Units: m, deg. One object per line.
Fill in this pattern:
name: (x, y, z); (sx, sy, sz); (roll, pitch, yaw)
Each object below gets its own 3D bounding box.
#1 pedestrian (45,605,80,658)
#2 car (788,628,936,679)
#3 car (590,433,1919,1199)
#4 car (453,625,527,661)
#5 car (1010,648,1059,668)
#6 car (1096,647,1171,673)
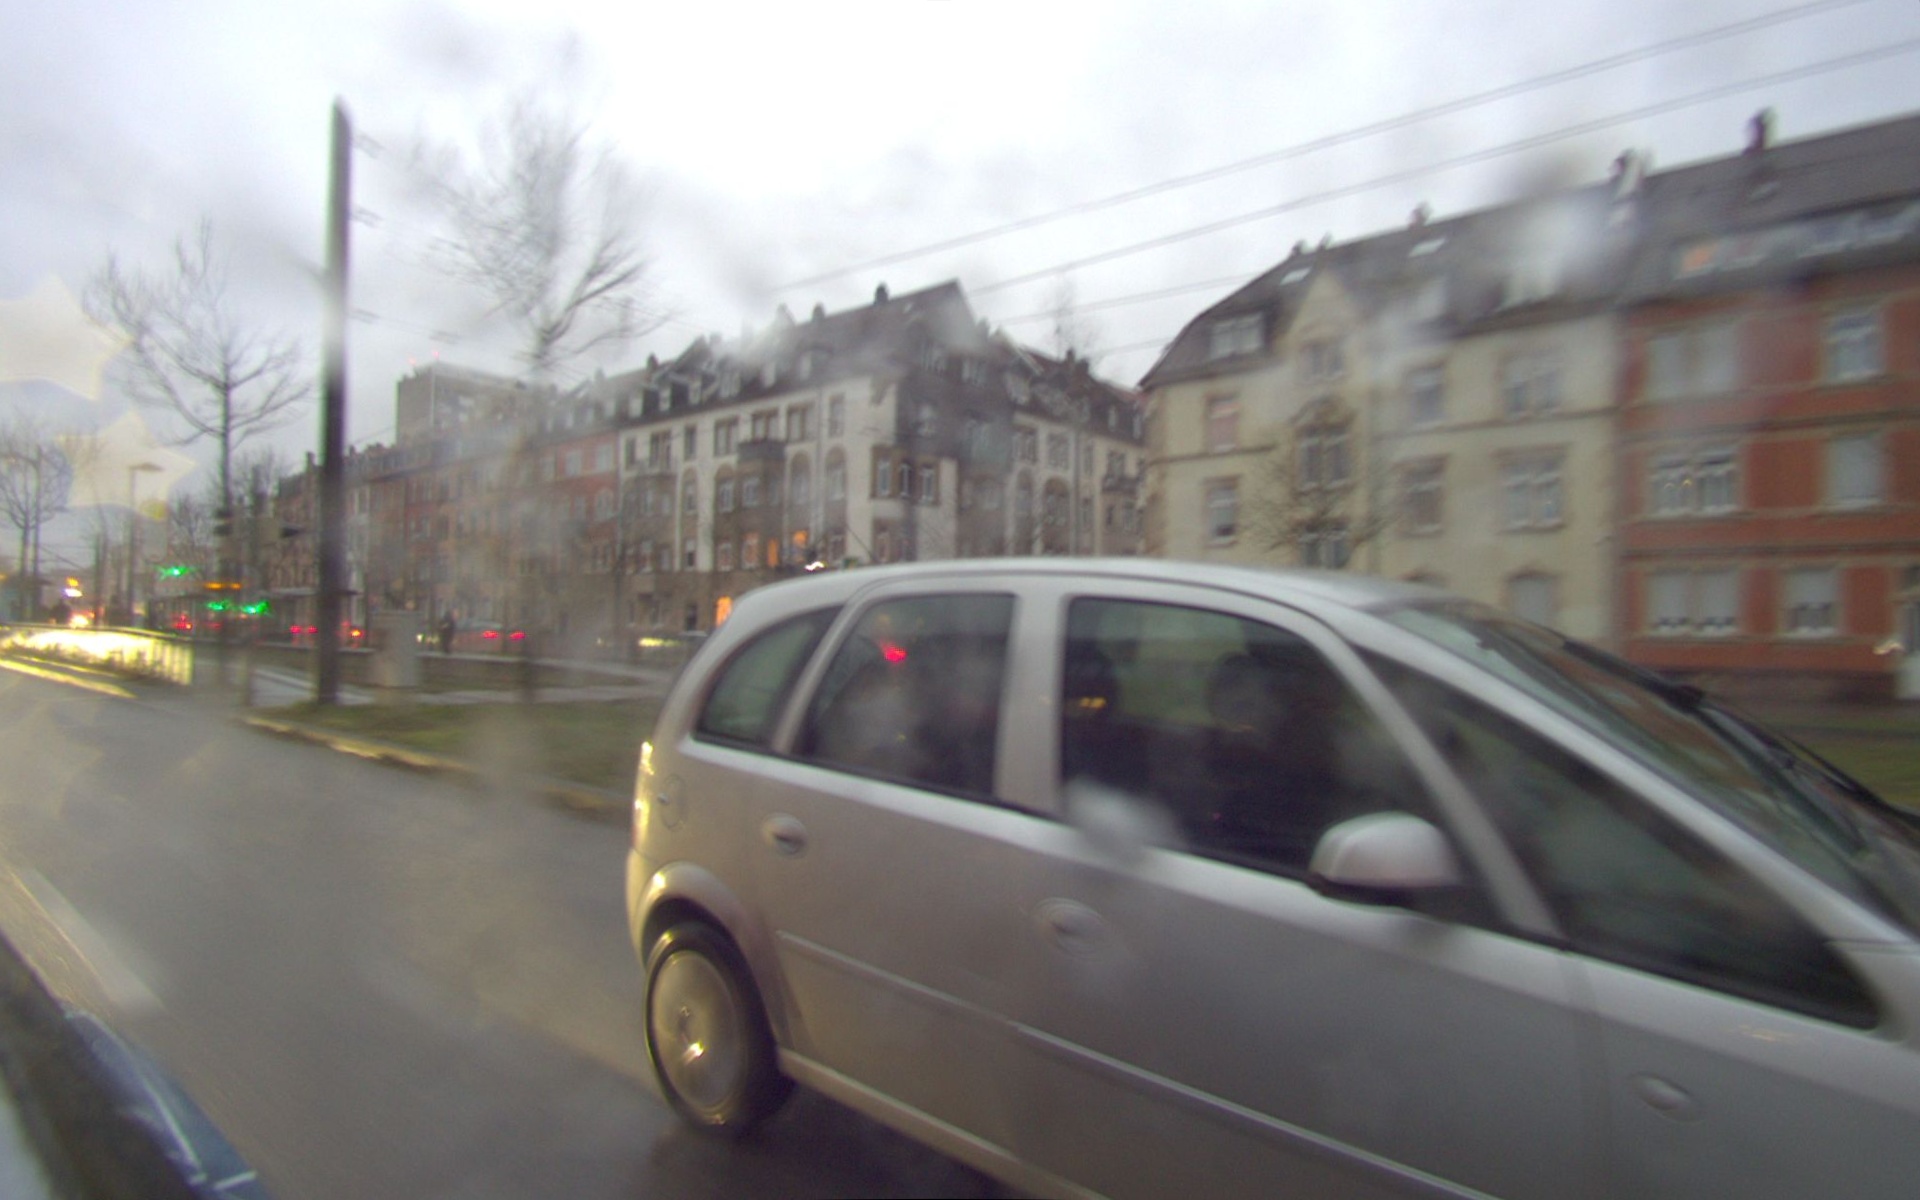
pedestrian: (-34.996, 1.225, 39.480); (0.864, 2.029, 0.932); (4, -4, -38)
car: (-3.101, 1.637, 31.399); (4.697, 1.464, 1.845); (-1, -4, 41)
car: (0.997, 0.643, 2.419); (4.051, 1.612, 1.790); (-1, -2, 41)
car: (-23.343, 2.084, 50.195); (3.998, 1.650, 1.845); (-1, -1, 41)
car: (4.208, 3.266, 56.772); (1.330, 1.083, 2.860); (-1, -4, 40)
car: (8.857, 3.065, 52.005); (1.838, 1.221, 4.013); (3, -3, -26)
